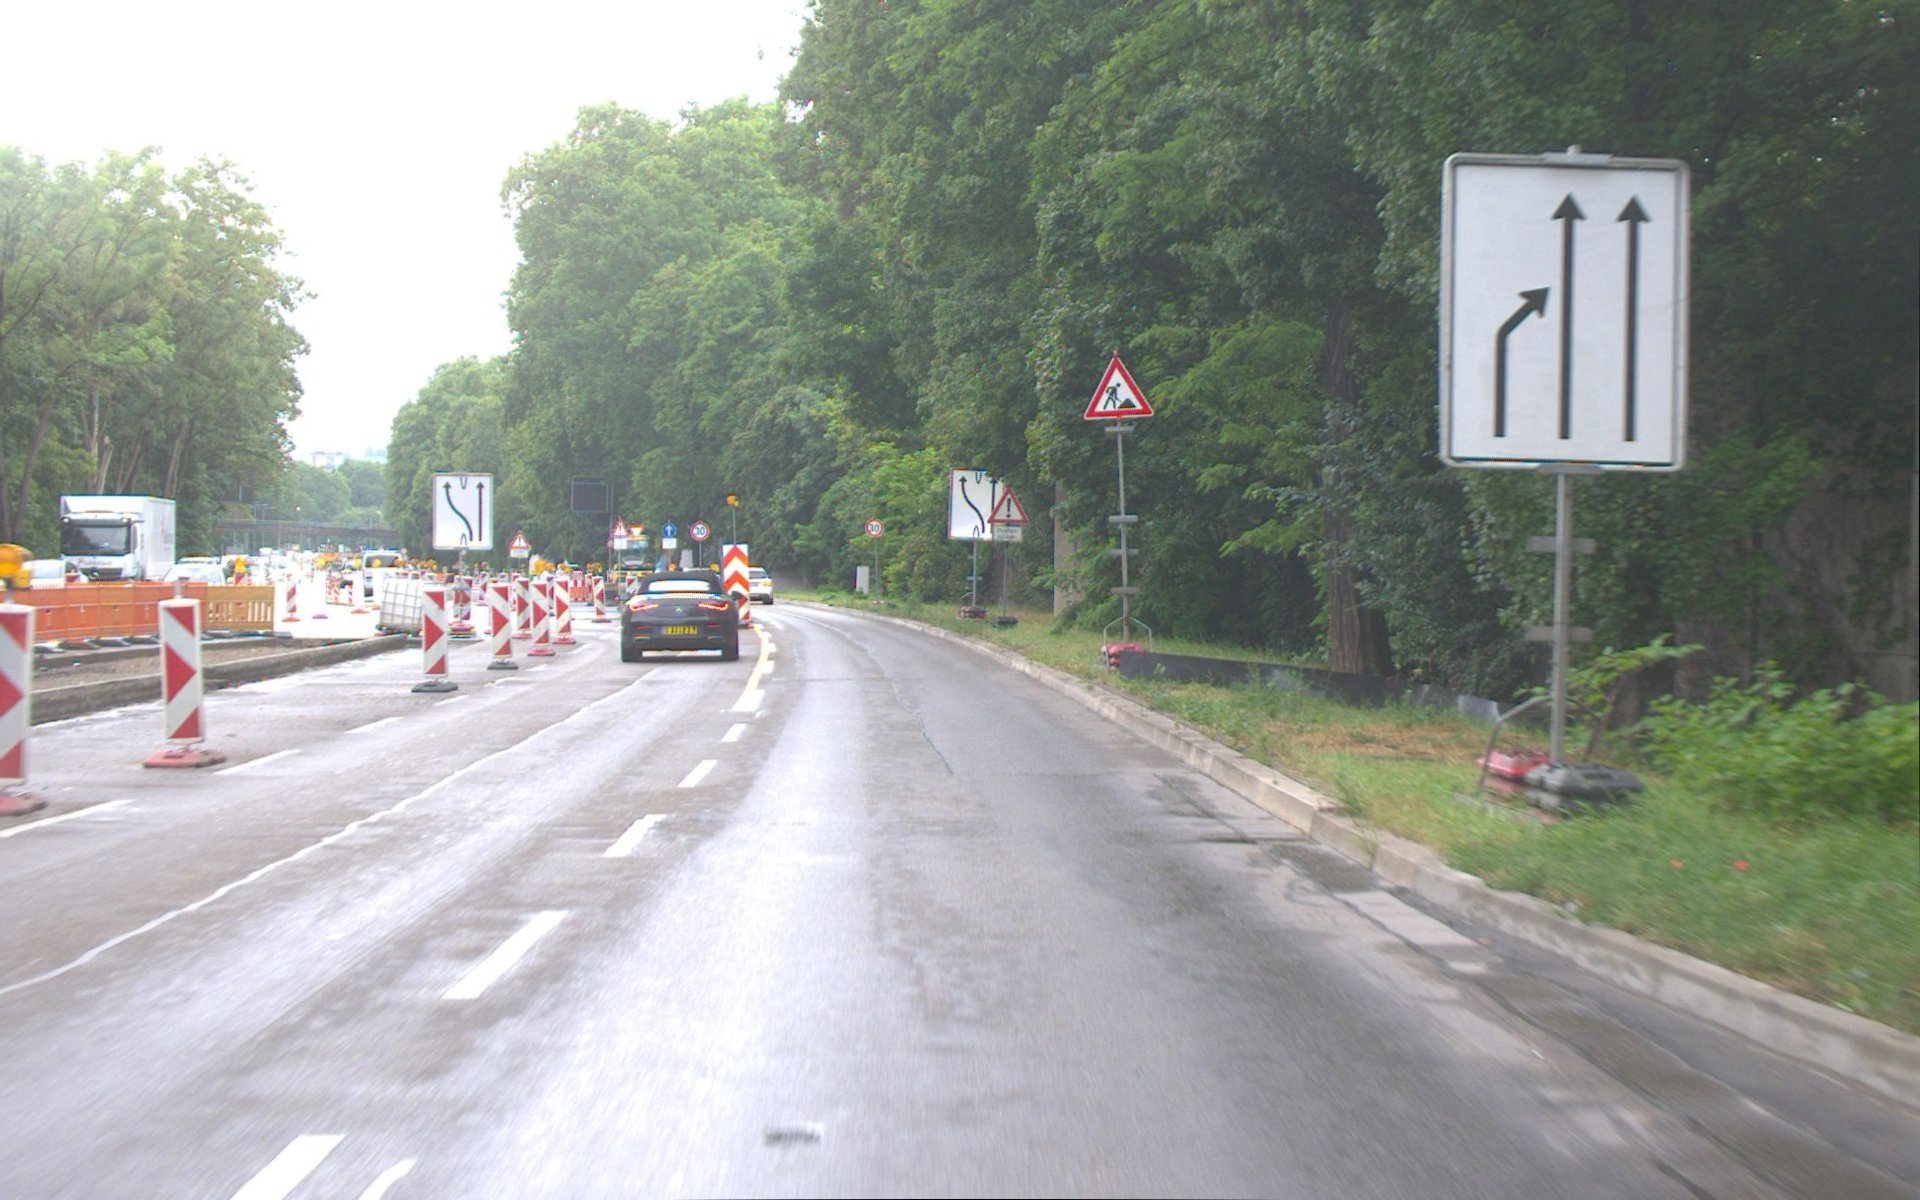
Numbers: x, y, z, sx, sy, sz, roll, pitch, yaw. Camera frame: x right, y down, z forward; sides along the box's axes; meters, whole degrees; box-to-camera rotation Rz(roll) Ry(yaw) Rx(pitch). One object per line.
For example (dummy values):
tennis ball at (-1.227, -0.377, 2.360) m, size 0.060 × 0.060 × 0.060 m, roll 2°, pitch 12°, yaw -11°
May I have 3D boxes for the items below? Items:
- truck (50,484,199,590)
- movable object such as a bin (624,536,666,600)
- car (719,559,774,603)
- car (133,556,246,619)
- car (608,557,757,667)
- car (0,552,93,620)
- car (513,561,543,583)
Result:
truck at (-26.289, -1.936, 108.634) m, size 2.795 × 3.137 × 10.149 m, roll 1°, pitch 0°, yaw -3°
movable object such as a bin at (-14.116, -1.426, 154.016) m, size 1.746 × 2.857 × 3.535 m, roll 0°, pitch 0°, yaw -8°
car at (-8.485, -0.768, 136.151) m, size 1.913 × 1.592 × 4.835 m, roll 1°, pitch 1°, yaw -6°
car at (-19.080, -0.327, 85.314) m, size 1.856 × 1.481 × 4.679 m, roll 1°, pitch 1°, yaw -1°
car at (-4.419, 0.165, 55.179) m, size 1.862 × 1.486 × 4.000 m, roll 2°, pitch 3°, yaw 2°
car at (-21.860, -0.345, 81.191) m, size 1.835 × 1.545 × 4.040 m, roll 1°, pitch 1°, yaw -2°
car at (-30.070, -1.971, 239.119) m, size 1.756 × 1.339 × 4.002 m, roll 2°, pitch 2°, yaw -12°
